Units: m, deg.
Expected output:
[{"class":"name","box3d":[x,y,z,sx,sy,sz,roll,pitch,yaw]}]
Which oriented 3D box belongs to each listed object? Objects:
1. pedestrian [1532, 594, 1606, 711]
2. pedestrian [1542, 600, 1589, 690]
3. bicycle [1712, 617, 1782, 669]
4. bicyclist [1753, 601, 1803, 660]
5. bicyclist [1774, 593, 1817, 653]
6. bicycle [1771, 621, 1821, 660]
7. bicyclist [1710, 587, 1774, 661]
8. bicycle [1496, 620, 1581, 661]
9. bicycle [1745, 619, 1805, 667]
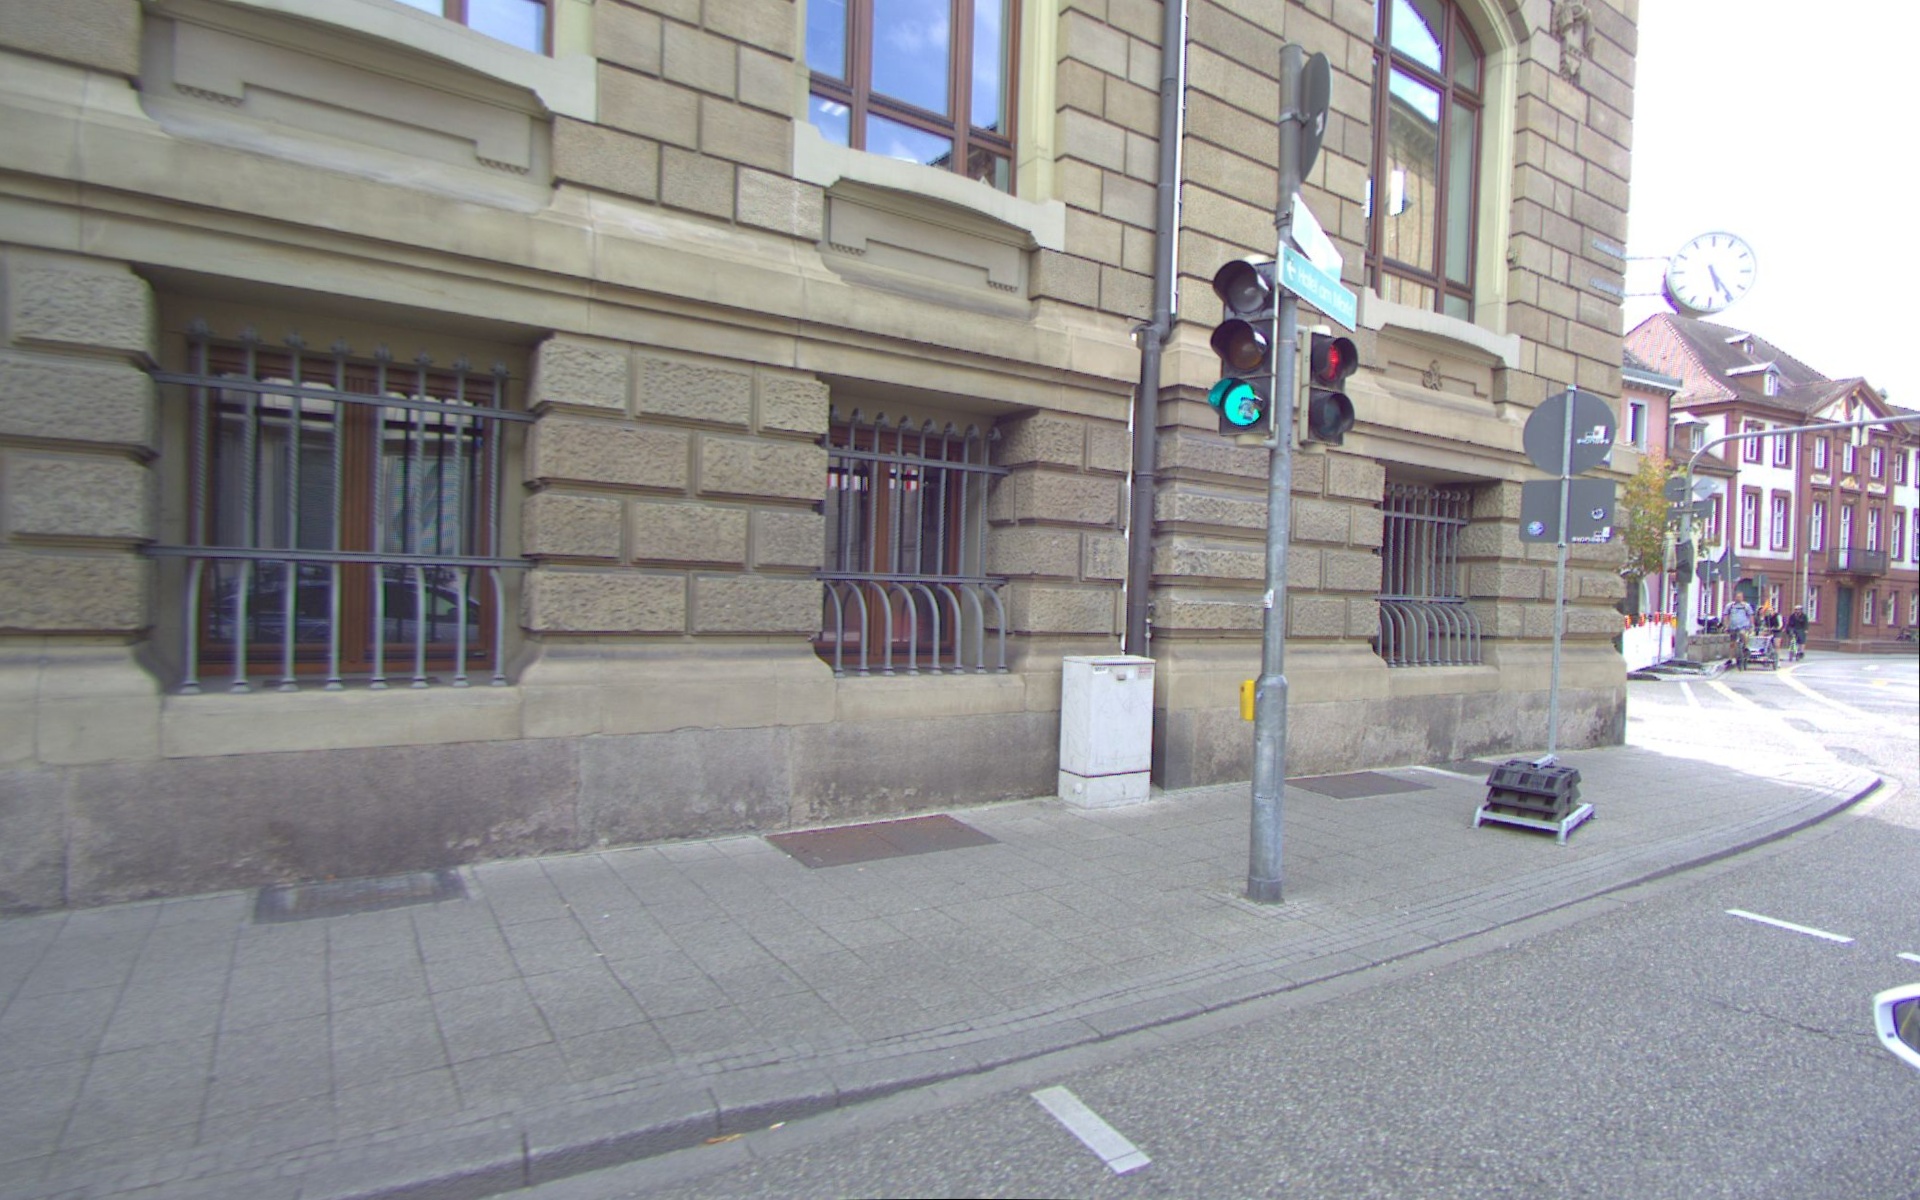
[{"class":"pedestrian","box3d":[10.164,0.852,16.795,0.832,1.859,0.857,2,0,20]},{"class":"pedestrian","box3d":[11.695,0.859,19.423,0.653,1.699,0.698,0,0,20]},{"class":"bicycle","box3d":[20.768,1.113,26.471,3.020,1.272,1.046,2,0,-44]},{"class":"bicyclist","box3d":[23.436,0.880,28.793,1.055,1.630,0.918,2,0,-41]},{"class":"bicyclist","box3d":[28.453,0.780,34.206,1.097,1.989,0.918,2,0,-41]},{"class":"bicycle","box3d":[28.553,1.376,34.305,2.522,1.272,0.917,2,0,-42]},{"class":"bicyclist","box3d":[20.435,0.613,26.244,1.356,1.848,1.081,2,0,-43]},{"class":"bicycle","box3d":[16.215,1.128,28.215,0.500,1.073,2.037,2,-1,-37]},{"class":"bicycle","box3d":[23.307,1.216,28.702,2.522,1.272,0.917,2,0,-42]}]
